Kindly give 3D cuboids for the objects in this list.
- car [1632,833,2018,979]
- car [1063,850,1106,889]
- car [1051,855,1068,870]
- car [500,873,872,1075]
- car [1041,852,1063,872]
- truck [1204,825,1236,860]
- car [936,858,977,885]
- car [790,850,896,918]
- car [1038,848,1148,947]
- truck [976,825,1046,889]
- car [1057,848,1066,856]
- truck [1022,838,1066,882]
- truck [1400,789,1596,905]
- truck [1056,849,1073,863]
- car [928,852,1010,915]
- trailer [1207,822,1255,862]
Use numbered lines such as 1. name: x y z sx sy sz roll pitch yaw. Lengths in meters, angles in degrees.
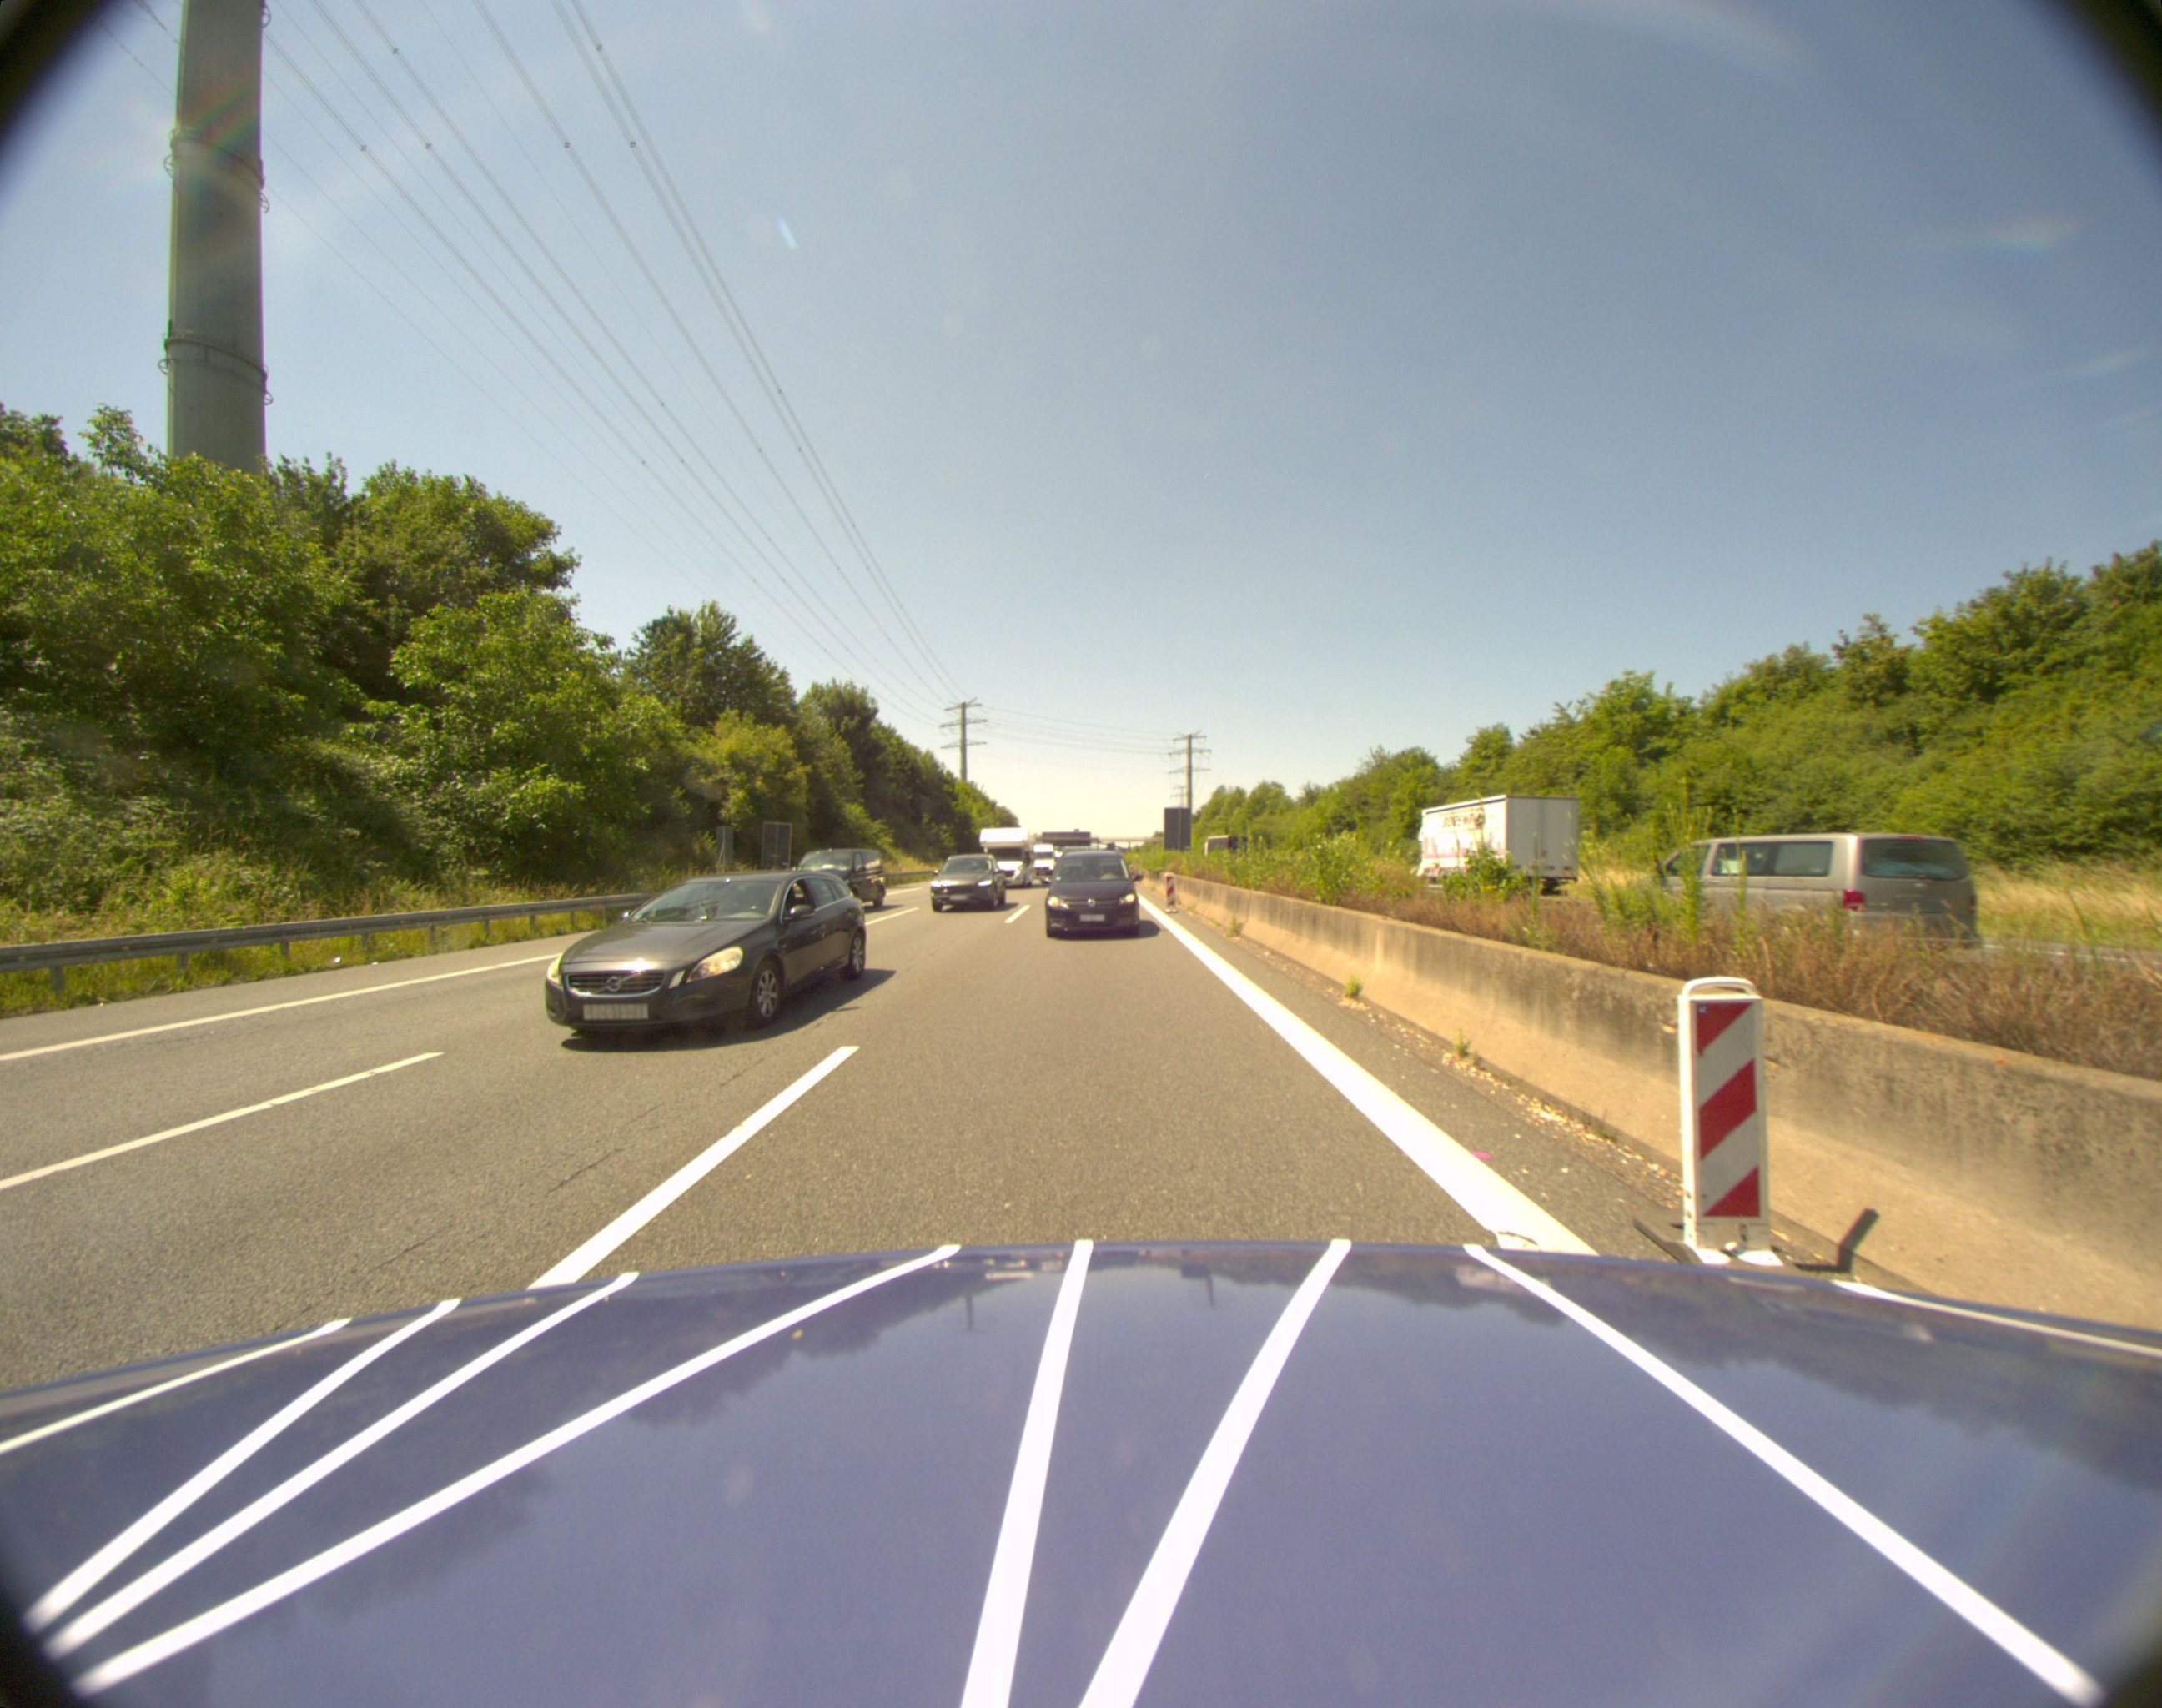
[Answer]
1. car: 11.661 0.689 12.492 1.944 1.877 4.428 3 1 1
2. car: 0.175 0.713 36.623 1.892 1.693 4.383 -2 0 0
3. car: -2.648 1.031 94.553 1.892 1.693 4.383 -2 0 -1
4. car: -3.752 1.016 8.221 1.800 1.429 4.230 -2 0 -1
5. car: -2.717 0.720 71.297 1.892 1.693 4.383 -2 0 -1
6. truck: 17.239 -1.403 94.770 2.758 4.143 6.410 2 1 1
7. car: -7.371 0.995 45.234 1.800 1.429 3.731 -2 0 -1
8. car: -7.390 0.846 24.149 1.788 1.893 4.698 -2 0 0
9. car: 0.195 0.762 15.633 1.892 1.693 4.383 -2 0 -1
10. truck: -3.623 0.128 41.703 2.514 2.997 9.897 -2 0 2
11. car: -5.126 -0.563 199.891 1.998 2.002 4.000 -2 1 1
12. truck: -2.714 0.366 58.546 2.514 2.997 9.897 -2 0 2
13. truck: 16.103 -0.272 30.414 2.769 3.866 9.029 2 0 1
14. truck: -2.729 0.249 127.442 2.408 2.203 6.744 -2 0 2
15. car: -3.348 0.828 23.554 1.892 1.693 4.383 -2 0 -1
16. trailer: 17.175 -1.355 88.186 2.759 4.143 14.196 2 0 1
